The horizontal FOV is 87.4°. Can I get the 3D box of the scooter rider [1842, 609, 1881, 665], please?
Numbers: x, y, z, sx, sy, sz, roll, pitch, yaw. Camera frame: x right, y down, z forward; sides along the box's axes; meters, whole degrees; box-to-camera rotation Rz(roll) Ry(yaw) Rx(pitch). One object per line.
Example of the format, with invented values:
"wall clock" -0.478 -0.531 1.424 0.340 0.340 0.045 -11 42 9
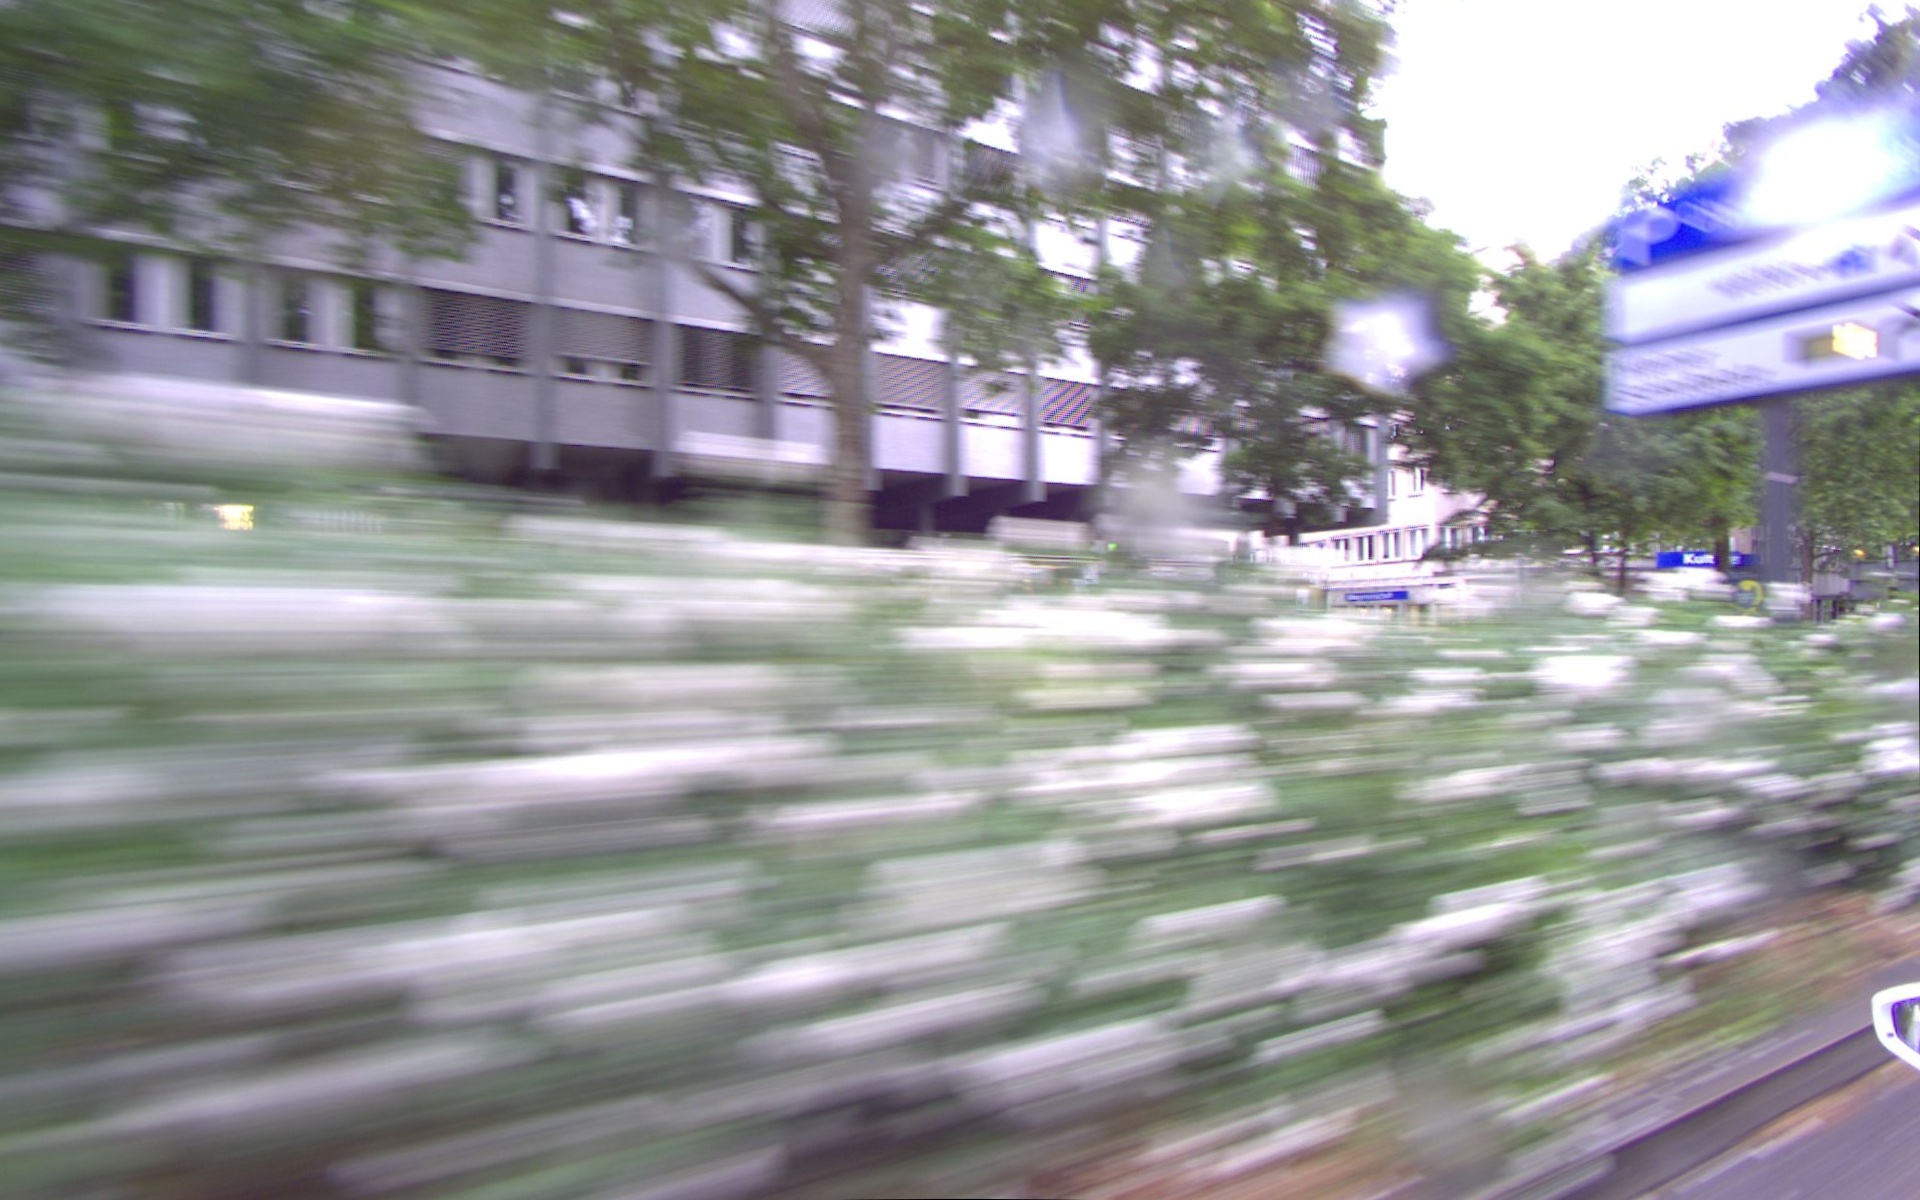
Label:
"scooter rider" 32.354 1.308 36.047 0.749 1.966 0.894 1 0 -33
